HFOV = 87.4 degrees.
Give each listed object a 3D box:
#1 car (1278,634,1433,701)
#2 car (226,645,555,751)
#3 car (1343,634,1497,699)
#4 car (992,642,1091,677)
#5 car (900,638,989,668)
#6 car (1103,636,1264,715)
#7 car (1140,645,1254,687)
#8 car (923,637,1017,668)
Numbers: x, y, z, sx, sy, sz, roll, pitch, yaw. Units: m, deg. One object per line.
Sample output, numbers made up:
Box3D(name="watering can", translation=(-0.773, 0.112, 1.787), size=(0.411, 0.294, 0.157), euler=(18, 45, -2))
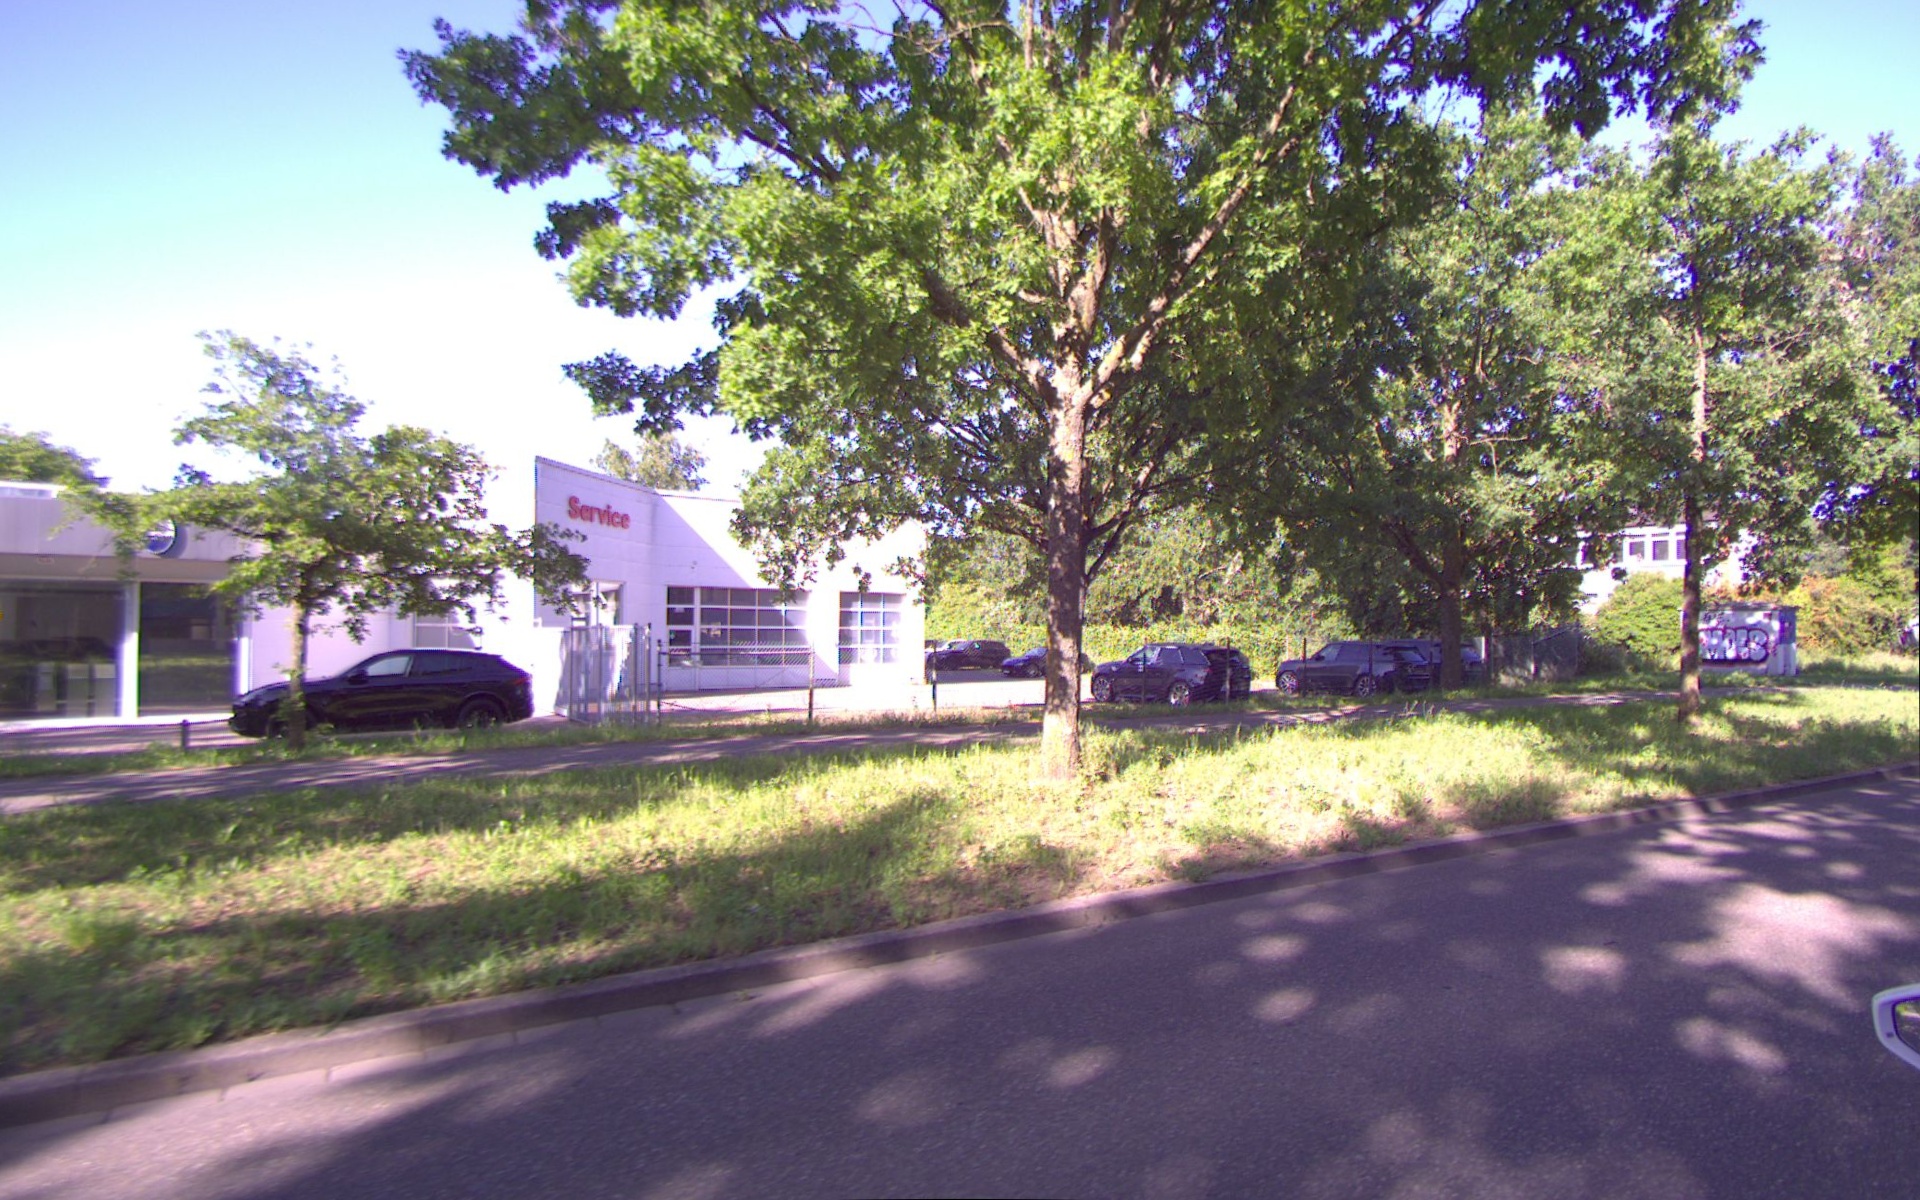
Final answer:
Box3D(name="car", translation=(12.389, 2.050, 31.674), size=(1.979, 1.825, 4.164), euler=(1, 0, -34))
Box3D(name="car", translation=(-10.209, 1.687, 18.366), size=(4.956, 1.619, 1.984), euler=(1, 0, -30))
Box3D(name="car", translation=(14.960, 2.094, 32.851), size=(1.979, 1.825, 4.164), euler=(1, 0, -34))
Box3D(name="car", translation=(4.116, 2.937, 50.253), size=(4.838, 1.587, 1.980), euler=(1, 0, -36))
Box3D(name="car", translation=(-0.892, 3.024, 58.153), size=(4.827, 1.587, 1.984), euler=(1, 0, -30))
Box3D(name="car", translation=(6.007, 1.969, 27.344), size=(1.981, 1.825, 3.959), euler=(1, 0, -36))
Box3D(name="car", translation=(9.997, 2.721, 42.157), size=(4.838, 1.587, 1.980), euler=(1, 0, -36))
Box3D(name="car", translation=(0.571, 2.889, 55.674), size=(4.827, 1.587, 1.984), euler=(1, 0, -30))
